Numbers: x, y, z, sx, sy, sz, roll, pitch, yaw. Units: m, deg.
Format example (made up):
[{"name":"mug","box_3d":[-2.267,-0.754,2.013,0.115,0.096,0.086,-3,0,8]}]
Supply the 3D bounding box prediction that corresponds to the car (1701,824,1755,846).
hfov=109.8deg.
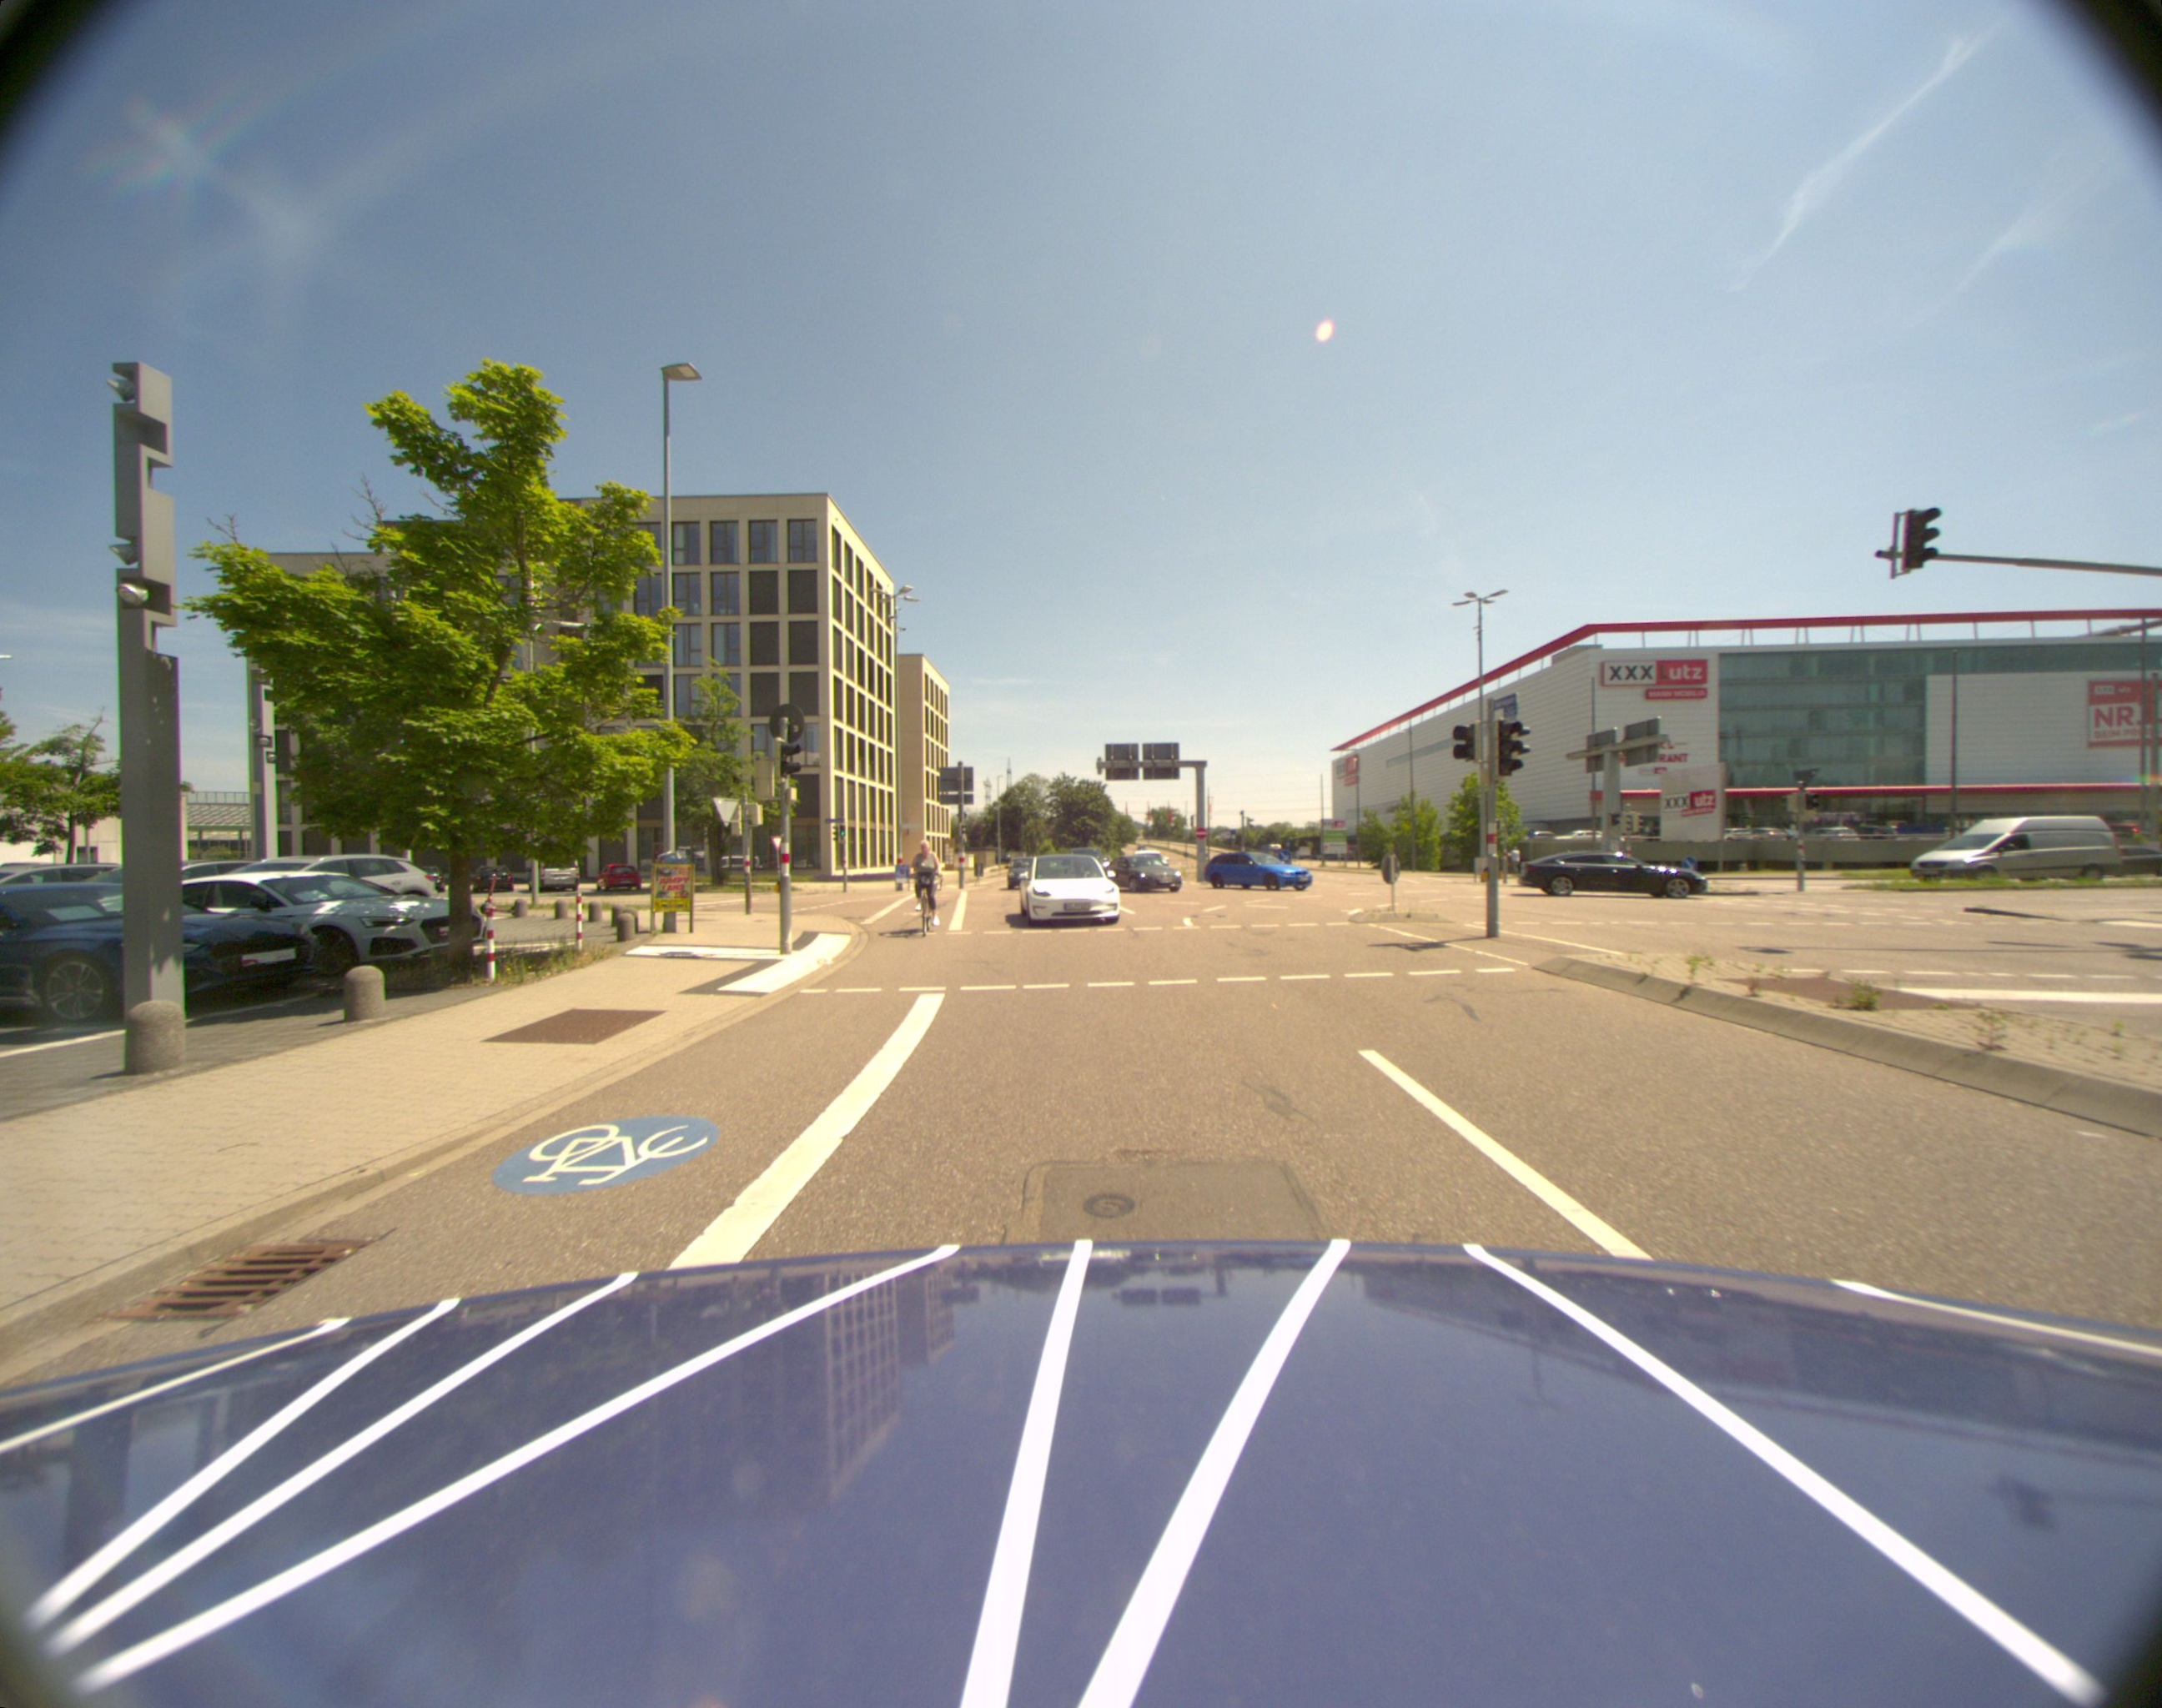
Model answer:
[{"name":"car","box_3d":[61.863,-1.797,72.743,1.782,2.002,4.135,-1,1,1]}]

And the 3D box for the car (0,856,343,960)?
[{"name":"car","box_3d":[-17.701,0.944,15.138,1.848,1.645,3.999,-3,1,4]}]

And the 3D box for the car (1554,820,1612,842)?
[{"name":"car","box_3d":[48.416,-2.249,73.291,4.470,2.002,1.679,-1,1,1]}]

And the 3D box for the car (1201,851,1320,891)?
[{"name":"car","box_3d":[6.750,0.592,29.072,1.774,1.395,4.420,-1,1,-33]}]

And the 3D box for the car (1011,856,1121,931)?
[{"name":"car","box_3d":[-0.489,0.803,17.566,1.825,1.428,4.280,-3,0,-10]}]

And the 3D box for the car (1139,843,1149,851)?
[{"name":"car","box_3d":[14.363,-1.576,173.145,1.998,1.696,4.000,-1,1,3]}]

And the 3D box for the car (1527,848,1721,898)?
[{"name":"car","box_3d":[15.998,0.533,22.671,4.455,1.396,1.680,0,0,24]}]

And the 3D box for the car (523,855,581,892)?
[{"name":"car","box_3d":[-29.504,1.066,42.318,1.924,1.875,4.919,-1,0,-44]}]

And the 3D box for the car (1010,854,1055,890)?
[{"name":"car","box_3d":[-2.201,0.799,35.337,1.556,1.528,3.822,-1,0,5]}]

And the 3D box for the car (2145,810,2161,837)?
[{"name":"car","box_3d":[83.845,-2.349,57.011,1.998,2.002,4.329,-1,1,1]}]

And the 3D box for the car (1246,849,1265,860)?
[{"name":"car","box_3d":[25.620,0.037,111.636,1.998,1.587,3.999,-1,1,1]}]

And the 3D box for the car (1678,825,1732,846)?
[{"name":"car","box_3d":[59.587,-1.742,72.677,1.782,2.002,4.233,-1,1,1]}]

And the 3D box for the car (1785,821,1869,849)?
[{"name":"car","box_3d":[56.273,-1.413,57.398,1.999,2.002,4.328,-1,1,-3]}]

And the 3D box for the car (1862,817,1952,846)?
[{"name":"car","box_3d":[61.825,-1.642,56.982,1.999,2.002,4.328,-1,1,-3]}]

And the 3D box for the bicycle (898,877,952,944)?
[{"name":"bicycle","box_3d":[-2.940,1.031,14.461,0.629,1.126,1.894,-2,0,-1]}]

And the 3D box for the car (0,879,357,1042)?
[{"name":"car","box_3d":[-10.741,1.116,8.140,4.106,1.382,1.869,-3,1,1]}]

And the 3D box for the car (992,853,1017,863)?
[{"name":"car","box_3d":[-12.530,0.584,124.424,3.834,1.543,1.736,-1,0,-13]}]

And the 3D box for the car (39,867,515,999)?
[{"name":"car","box_3d":[-10.919,1.023,10.592,4.603,1.382,1.869,-3,1,1]}]

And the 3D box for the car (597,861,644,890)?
[{"name":"car","box_3d":[-25.723,1.180,42.378,1.703,1.424,3.988,-2,2,-39]}]

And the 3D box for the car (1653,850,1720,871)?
[{"name":"car","box_3d":[49.902,0.538,62.695,3.998,1.696,1.999,-1,0,-2]}]

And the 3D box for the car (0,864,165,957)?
[{"name":"car","box_3d":[-20.792,1.106,14.464,1.849,1.645,3.997,-3,1,-3]}]

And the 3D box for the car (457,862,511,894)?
[{"name":"car","box_3d":[-32.828,1.280,41.739,1.924,1.580,3.989,-1,0,-44]}]

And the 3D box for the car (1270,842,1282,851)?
[{"name":"car","box_3d":[49.225,-1.824,191.980,2.191,2.270,4.814,-1,0,4]}]

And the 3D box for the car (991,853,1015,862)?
[{"name":"car","box_3d":[-13.014,0.558,126.357,3.834,1.386,1.736,-1,0,-13]}]

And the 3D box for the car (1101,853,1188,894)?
[{"name":"car","box_3d":[2.288,0.667,28.606,1.772,1.374,4.083,-1,1,-19]}]

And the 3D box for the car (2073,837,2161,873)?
[{"name":"car","box_3d":[46.395,0.011,33.027,3.996,1.499,1.859,-1,1,2]}]

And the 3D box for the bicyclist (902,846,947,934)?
[{"name":"bicyclist","box_3d":[-2.944,0.659,14.365,0.629,1.596,0.825,-3,1,-1]}]

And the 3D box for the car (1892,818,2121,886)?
[{"name":"car","box_3d":[31.551,-0.059,26.041,5.043,2.170,2.001,-1,0,6]}]

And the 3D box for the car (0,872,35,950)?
[{"name":"car","box_3d":[-23.234,1.187,14.392,1.641,1.606,3.817,-2,-1,-3]}]

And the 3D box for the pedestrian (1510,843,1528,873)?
[{"name":"pedestrian","box_3d":[26.100,0.226,45.262,0.604,1.773,0.827,-1,1,4]}]

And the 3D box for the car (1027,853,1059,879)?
[{"name":"car","box_3d":[-2.609,0.806,52.601,1.778,1.600,3.821,-1,1,4]}]

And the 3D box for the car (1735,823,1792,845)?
[{"name":"car","box_3d":[64.594,-1.883,72.026,1.782,2.002,4.135,-1,1,1]}]

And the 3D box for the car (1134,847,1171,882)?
[{"name":"car","box_3d":[3.718,0.503,39.574,1.769,1.631,4.493,-2,0,5]}]

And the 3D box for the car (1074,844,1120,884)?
[{"name":"car","box_3d":[0.882,0.465,37.955,1.895,1.811,4.838,-2,0,5]}]

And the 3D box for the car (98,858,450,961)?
[{"name":"car","box_3d":[-15.128,0.926,14.731,1.872,1.549,4.502,0,2,2]}]
